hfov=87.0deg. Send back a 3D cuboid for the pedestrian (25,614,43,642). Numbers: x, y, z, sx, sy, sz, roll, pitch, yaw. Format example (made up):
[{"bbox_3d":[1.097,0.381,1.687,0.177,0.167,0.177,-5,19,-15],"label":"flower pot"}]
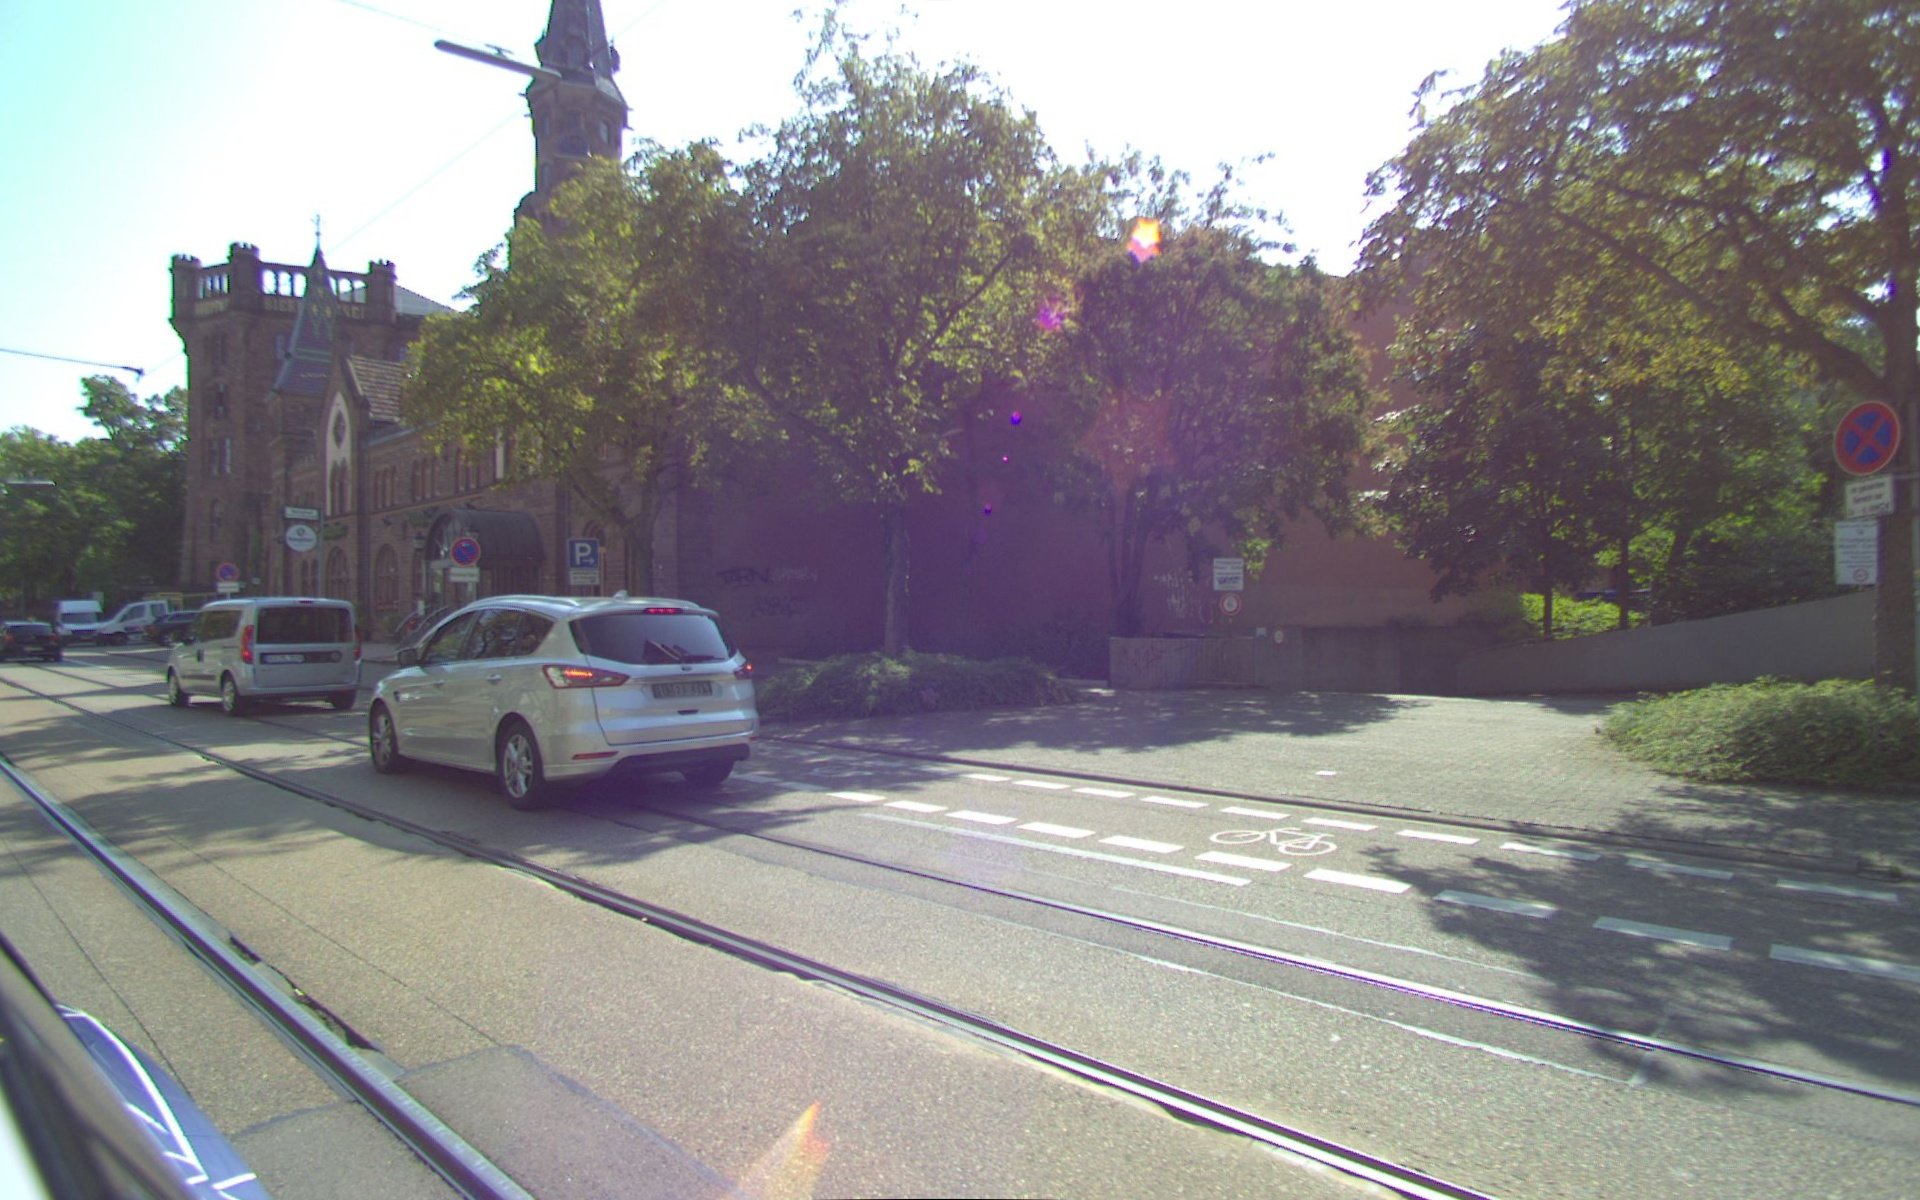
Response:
[{"bbox_3d":[-68.730,2.062,75.094,0.982,2.029,0.855,-2,-1,40],"label":"pedestrian"}]

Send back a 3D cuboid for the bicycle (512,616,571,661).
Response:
[{"bbox_3d":[-11.528,1.043,27.925,0.399,1.101,1.438,-1,2,37],"label":"bicycle"}]

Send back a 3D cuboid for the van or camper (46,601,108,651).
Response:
[{"bbox_3d":[-49.687,1.436,56.917,5.955,2.695,2.090,-2,-1,43],"label":"van or camper"}]

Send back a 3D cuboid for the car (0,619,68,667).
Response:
[{"bbox_3d":[-32.859,1.503,35.638,4.205,1.583,1.663,-2,-3,42],"label":"car"}]

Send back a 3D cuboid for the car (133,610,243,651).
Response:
[{"bbox_3d":[-38.995,1.494,51.160,2.000,1.756,4.092,-2,2,42],"label":"car"}]

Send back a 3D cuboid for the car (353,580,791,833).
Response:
[{"bbox_3d":[-3.579,0.751,8.911,4.345,1.696,1.762,-1,-1,41],"label":"car"}]

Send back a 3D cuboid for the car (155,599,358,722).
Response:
[{"bbox_3d":[-11.792,0.922,16.872,3.995,1.810,1.730,-1,-1,39],"label":"car"}]

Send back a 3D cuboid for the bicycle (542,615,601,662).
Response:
[{"bbox_3d":[-10.320,1.012,26.914,0.399,1.101,1.438,-1,2,37],"label":"bicycle"}]

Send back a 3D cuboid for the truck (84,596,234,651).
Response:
[{"bbox_3d":[-44.135,1.245,55.888,6.247,2.557,2.132,-4,0,-44],"label":"truck"}]

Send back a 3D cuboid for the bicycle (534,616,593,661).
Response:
[{"bbox_3d":[-10.657,1.021,27.214,0.399,1.101,1.438,-1,2,37],"label":"bicycle"}]
